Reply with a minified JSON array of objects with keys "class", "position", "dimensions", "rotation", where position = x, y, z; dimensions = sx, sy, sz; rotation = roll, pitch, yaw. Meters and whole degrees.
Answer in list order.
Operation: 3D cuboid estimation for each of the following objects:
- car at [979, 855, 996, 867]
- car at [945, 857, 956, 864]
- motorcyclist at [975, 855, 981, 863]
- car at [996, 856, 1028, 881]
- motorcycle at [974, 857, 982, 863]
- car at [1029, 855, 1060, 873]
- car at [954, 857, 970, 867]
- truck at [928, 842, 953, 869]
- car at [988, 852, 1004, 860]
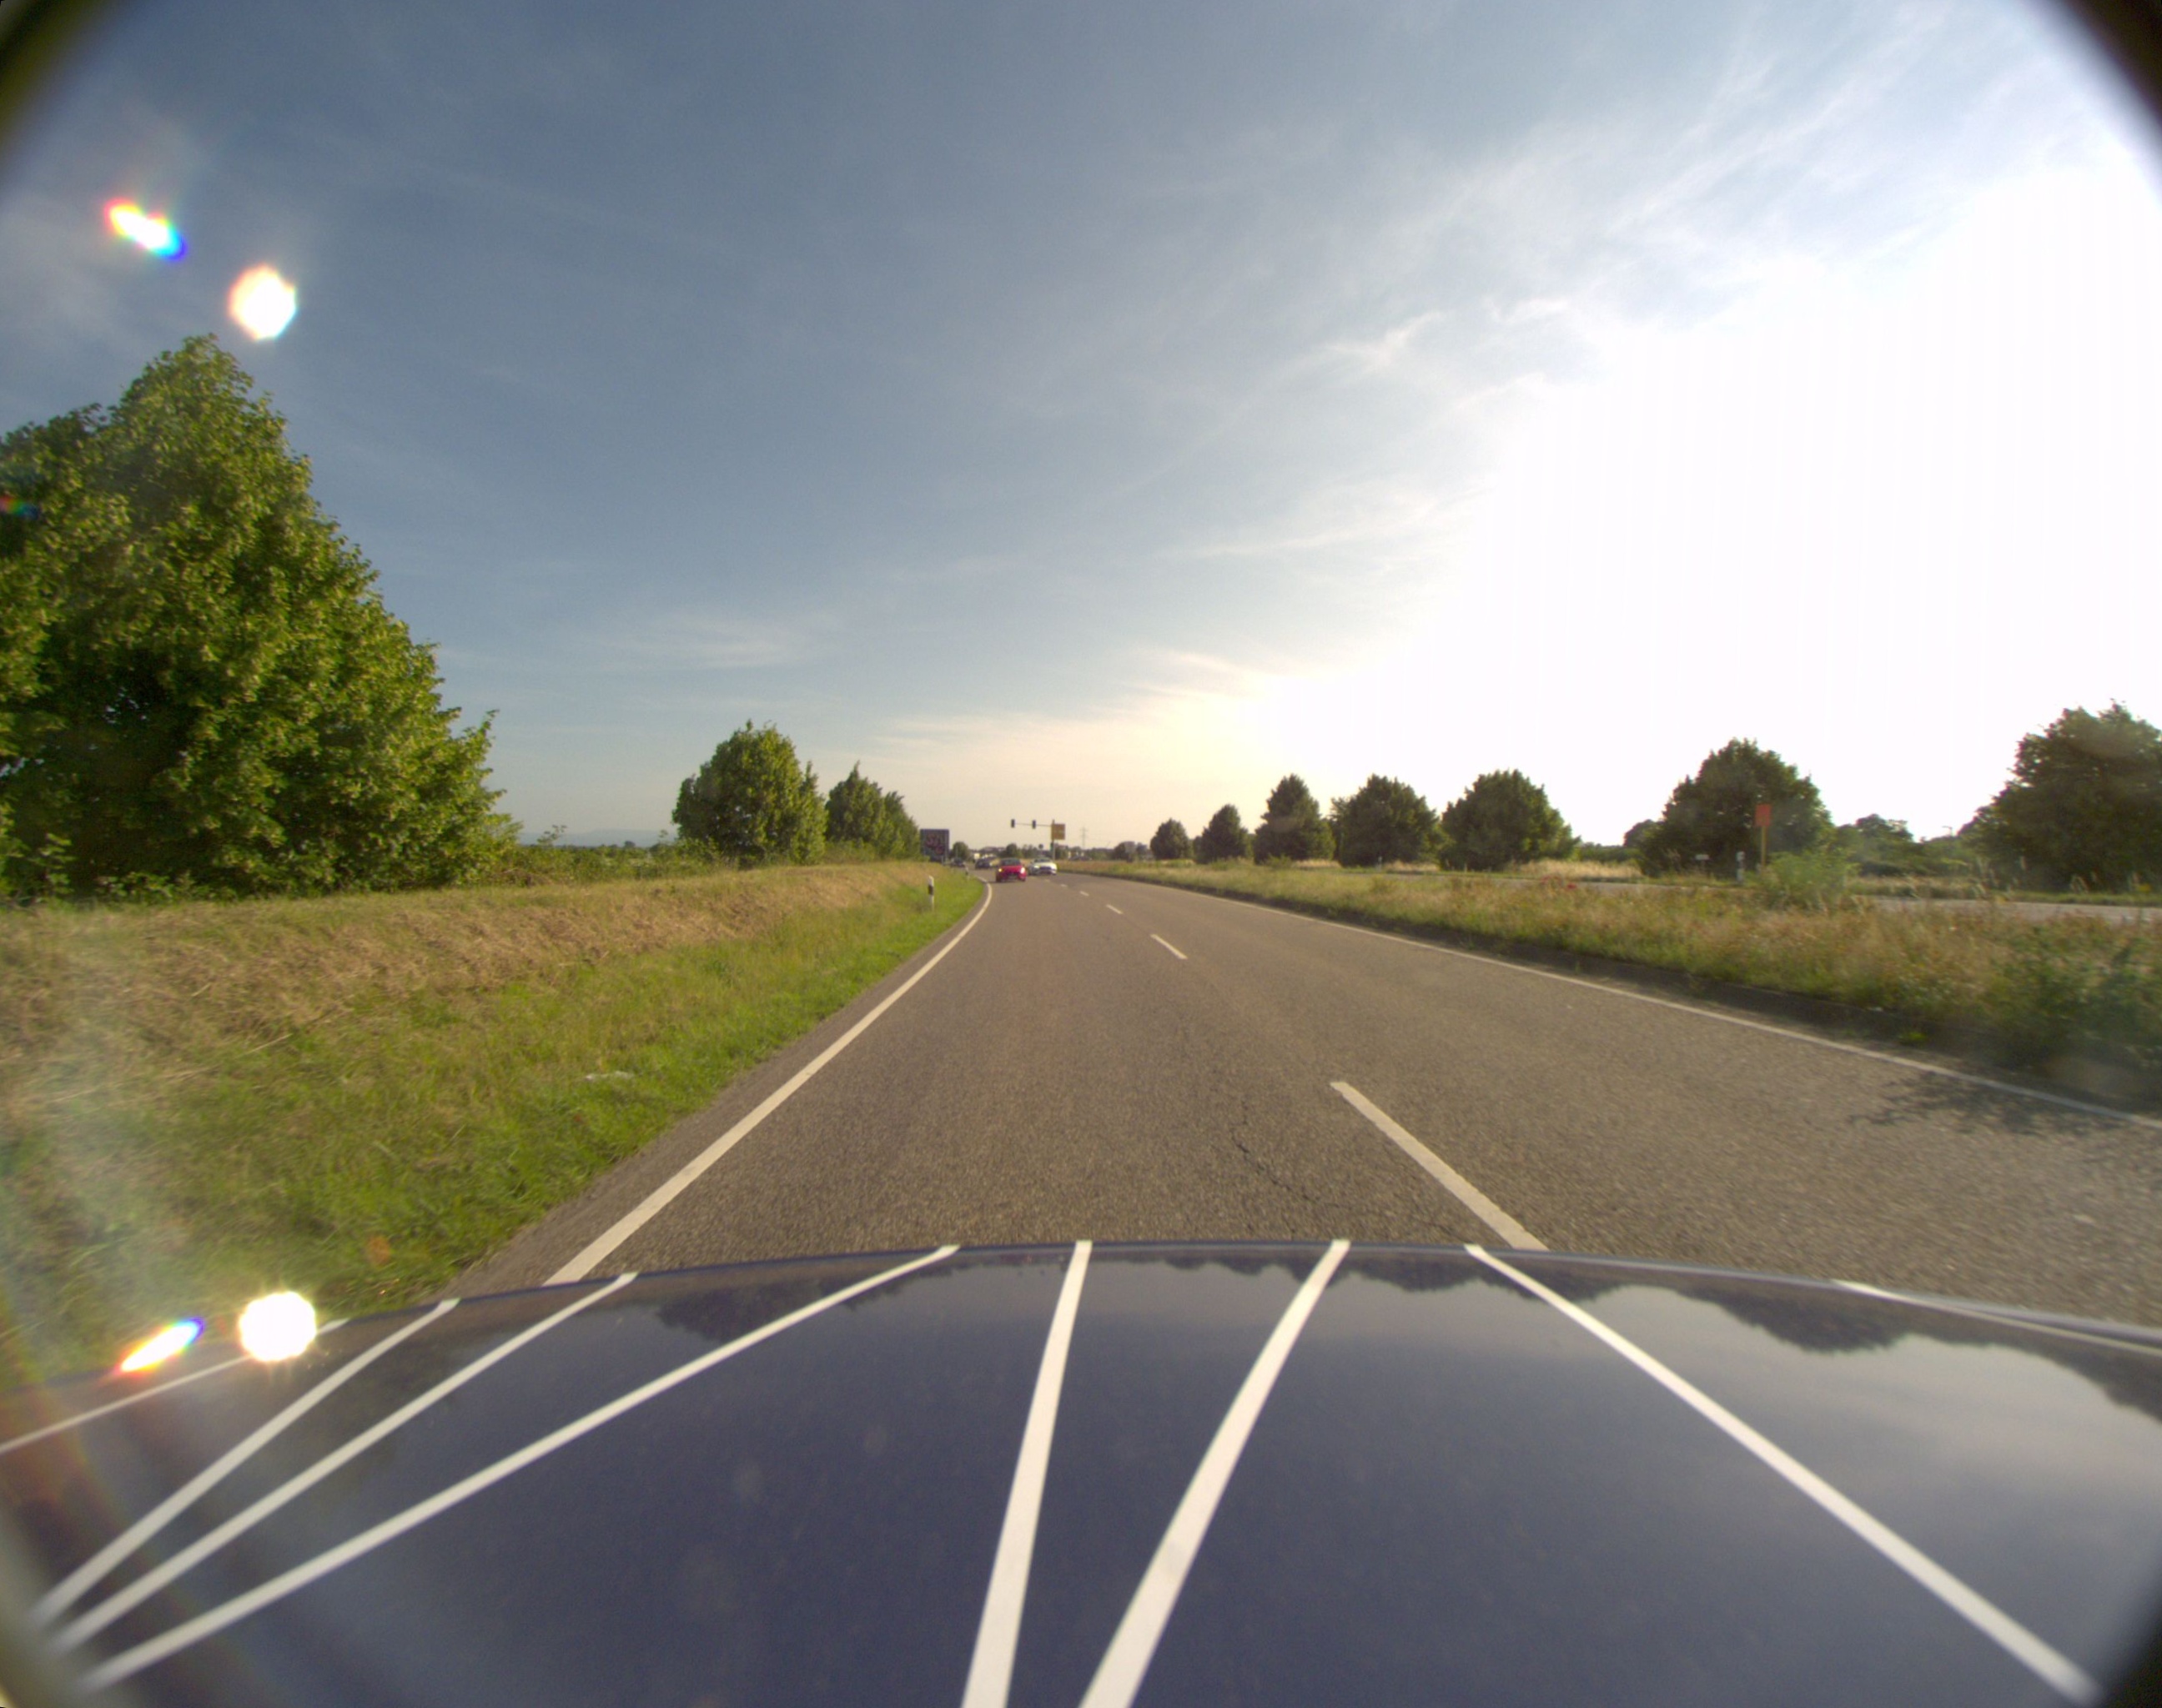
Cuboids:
[{"class":"car","position":[-12.304,0.940,99.708],"dimensions":[1.753,1.521,3.994],"rotation":[-1,0,-15]},{"class":"car","position":[-30.284,1.401,176.151],"dimensions":[1.713,1.516,4.128],"rotation":[-2,1,-19]},{"class":"motorcyclist","position":[-21.455,0.993,158.275],"dimensions":[0.755,1.595,1.246],"rotation":[-2,1,-29]},{"class":"car","position":[-4.415,0.870,48.395],"dimensions":[1.667,1.455,3.951],"rotation":[-2,1,-10]},{"class":"motorcycle","position":[-21.461,1.220,158.212],"dimensions":[0.755,1.087,2.303],"rotation":[-2,1,-28]},{"class":"car","position":[-2.997,0.803,61.717],"dimensions":[1.877,1.390,4.200],"rotation":[-1,1,-11]},{"class":"car","position":[-18.661,1.208,119.438],"dimensions":[1.834,1.521,3.993],"rotation":[-1,0,-18]},{"class":"truck","position":[-21.368,0.225,115.425],"dimensions":[2.655,3.897,5.940],"rotation":[-2,1,-19]},{"class":"car","position":[-16.727,0.399,148.567],"dimensions":[1.921,1.556,4.602],"rotation":[-2,0,-22]}]
